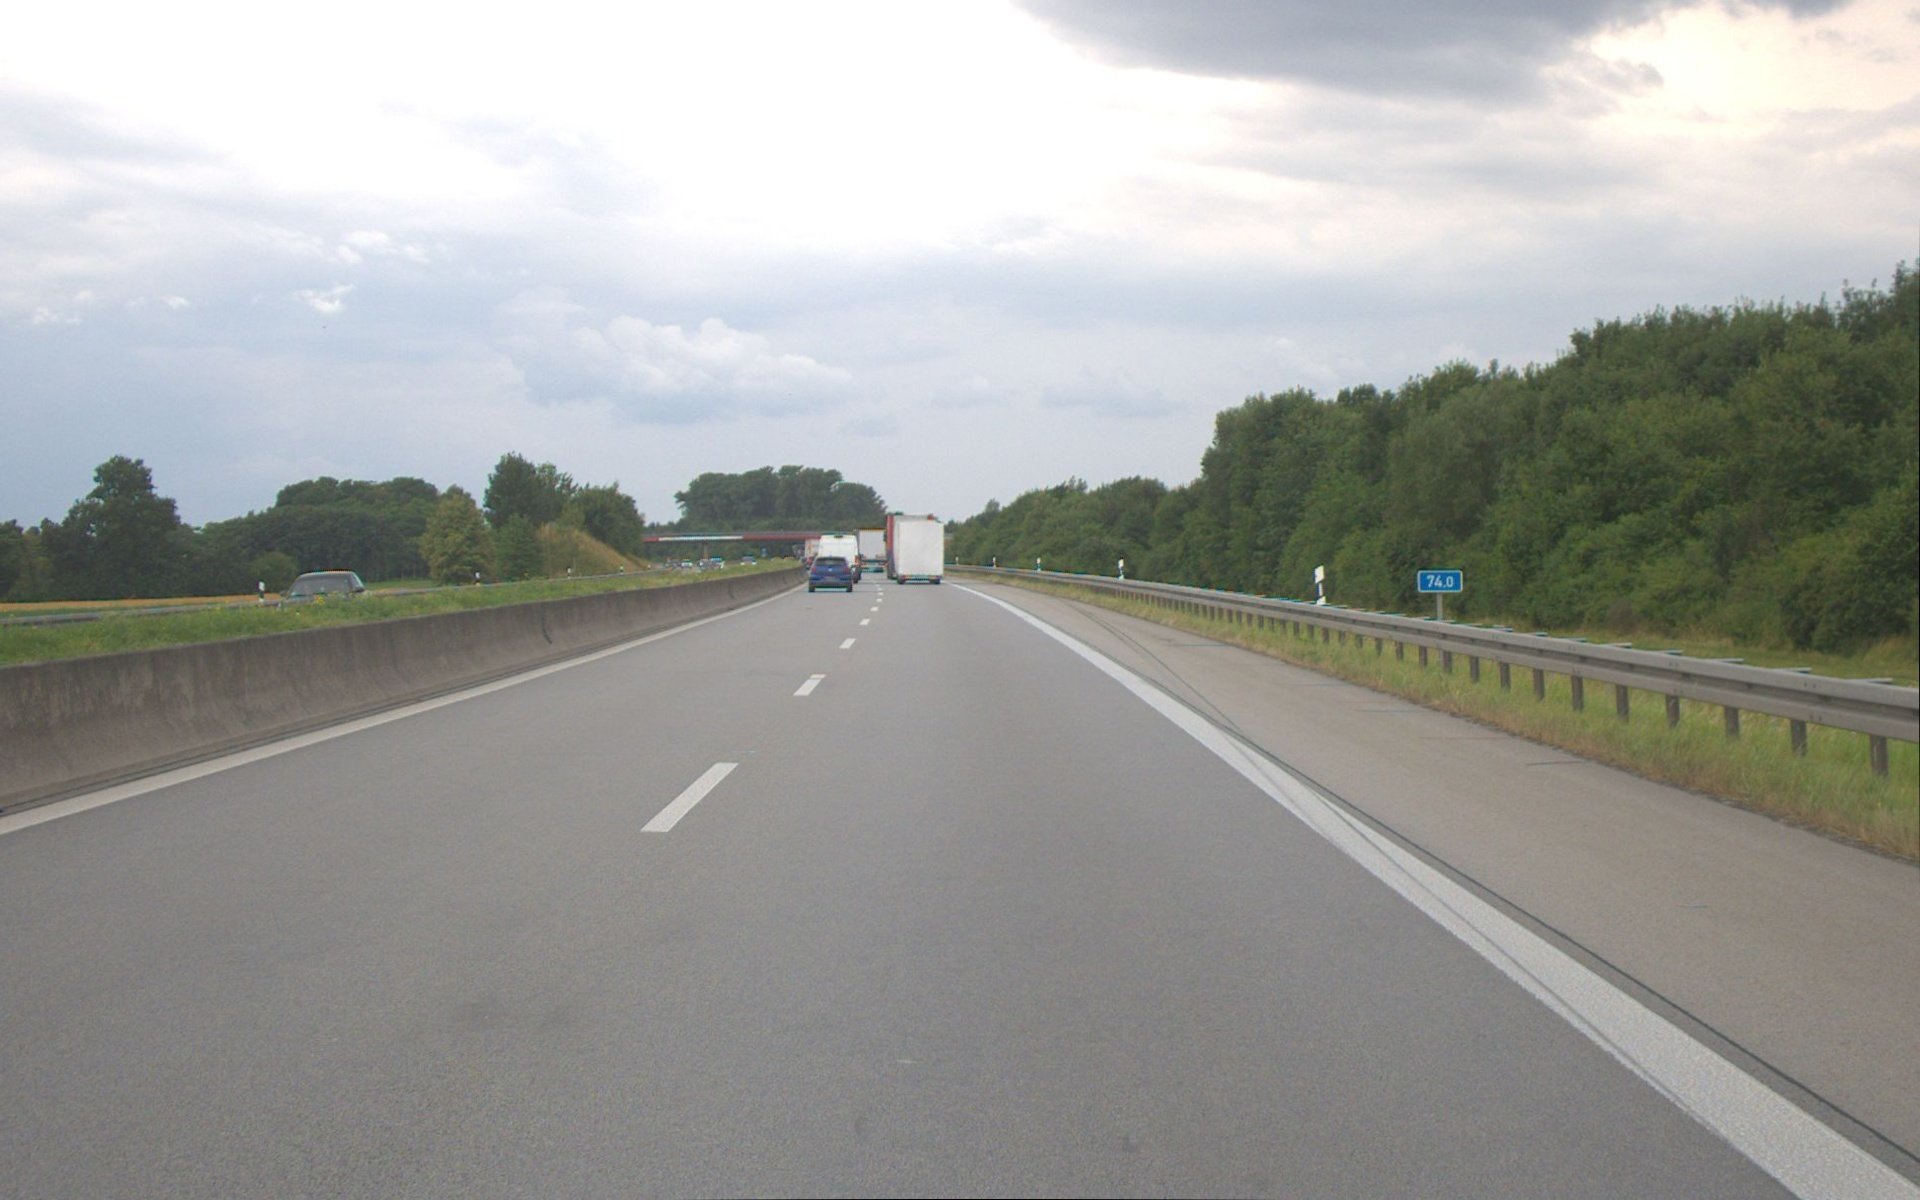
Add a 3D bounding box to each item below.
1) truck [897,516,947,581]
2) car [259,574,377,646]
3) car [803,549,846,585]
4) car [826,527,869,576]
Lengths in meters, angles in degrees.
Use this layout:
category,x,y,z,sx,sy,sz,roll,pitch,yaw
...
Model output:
category,x,y,z,sx,sy,sz,roll,pitch,yaw
truck,-1.935,-2.555,172.415,2.415,3.211,7.144,0,0,-2
car,-14.487,0.198,77.762,1.789,1.467,4.905,-2,1,-1
car,-5.353,-1.313,135.334,1.663,1.402,3.649,0,1,-3
car,-5.770,-2.499,177.628,2.130,2.474,5.840,-1,0,-1
